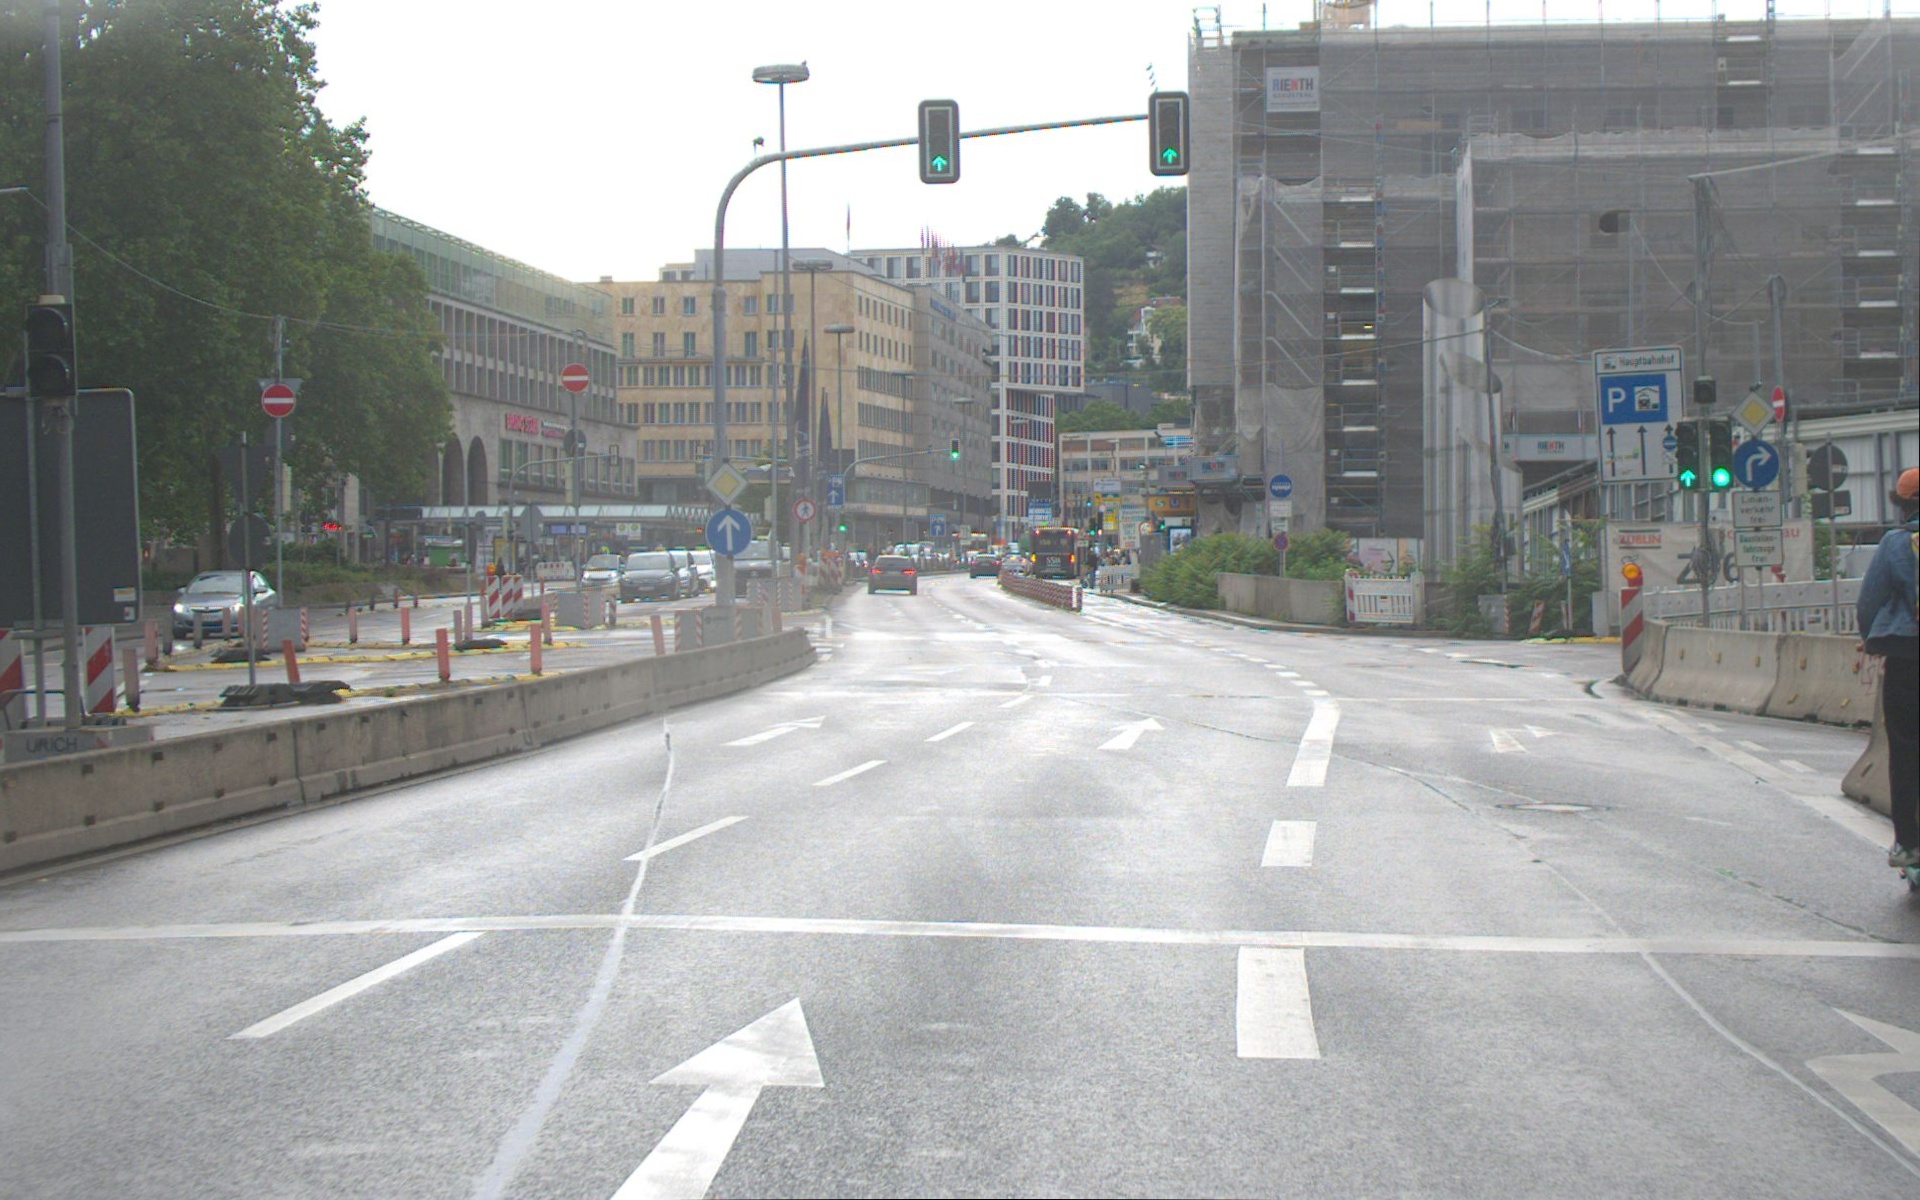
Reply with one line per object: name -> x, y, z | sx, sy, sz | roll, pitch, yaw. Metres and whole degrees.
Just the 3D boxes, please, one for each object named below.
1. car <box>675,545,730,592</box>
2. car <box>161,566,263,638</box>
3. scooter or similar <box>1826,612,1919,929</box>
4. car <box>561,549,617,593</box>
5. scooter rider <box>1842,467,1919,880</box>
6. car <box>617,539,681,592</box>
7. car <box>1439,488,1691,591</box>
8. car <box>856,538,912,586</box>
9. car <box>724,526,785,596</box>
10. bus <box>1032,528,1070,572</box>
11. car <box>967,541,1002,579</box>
car -> -9.589, -1.170, 128.151 | 1.902, 1.523, 4.177 | -2, -1, -3
car -> -16.430, 0.025, 75.699 | 1.765, 1.458, 4.178 | -3, 1, -7
scooter or similar -> 4.345, 0.722, 15.305 | 0.597, 1.314, 1.667 | 0, 0, 2
car -> -14.388, -1.111, 133.444 | 1.902, 1.523, 4.177 | -2, -1, -3
scooter rider -> 4.340, 0.312, 15.283 | 0.597, 1.779, 0.997 | 0, 0, 2
car -> -10.182, -1.127, 112.854 | 1.902, 1.523, 4.177 | -2, -1, -3
car -> 12.986, -1.334, 73.998 | 2.348, 2.124, 4.876 | -1, 2, -43
car -> -2.831, -1.394, 127.237 | 1.902, 1.523, 4.177 | -2, -1, -3
car -> -6.768, -1.274, 113.528 | 1.902, 2.075, 4.177 | -2, -2, -3
bus -> 5.478, -2.968, 206.150 | 1.994, 2.423, 3.999 | -2, -2, 5
car -> 1.443, -2.345, 200.466 | 1.993, 2.007, 4.000 | -2, -2, 1
